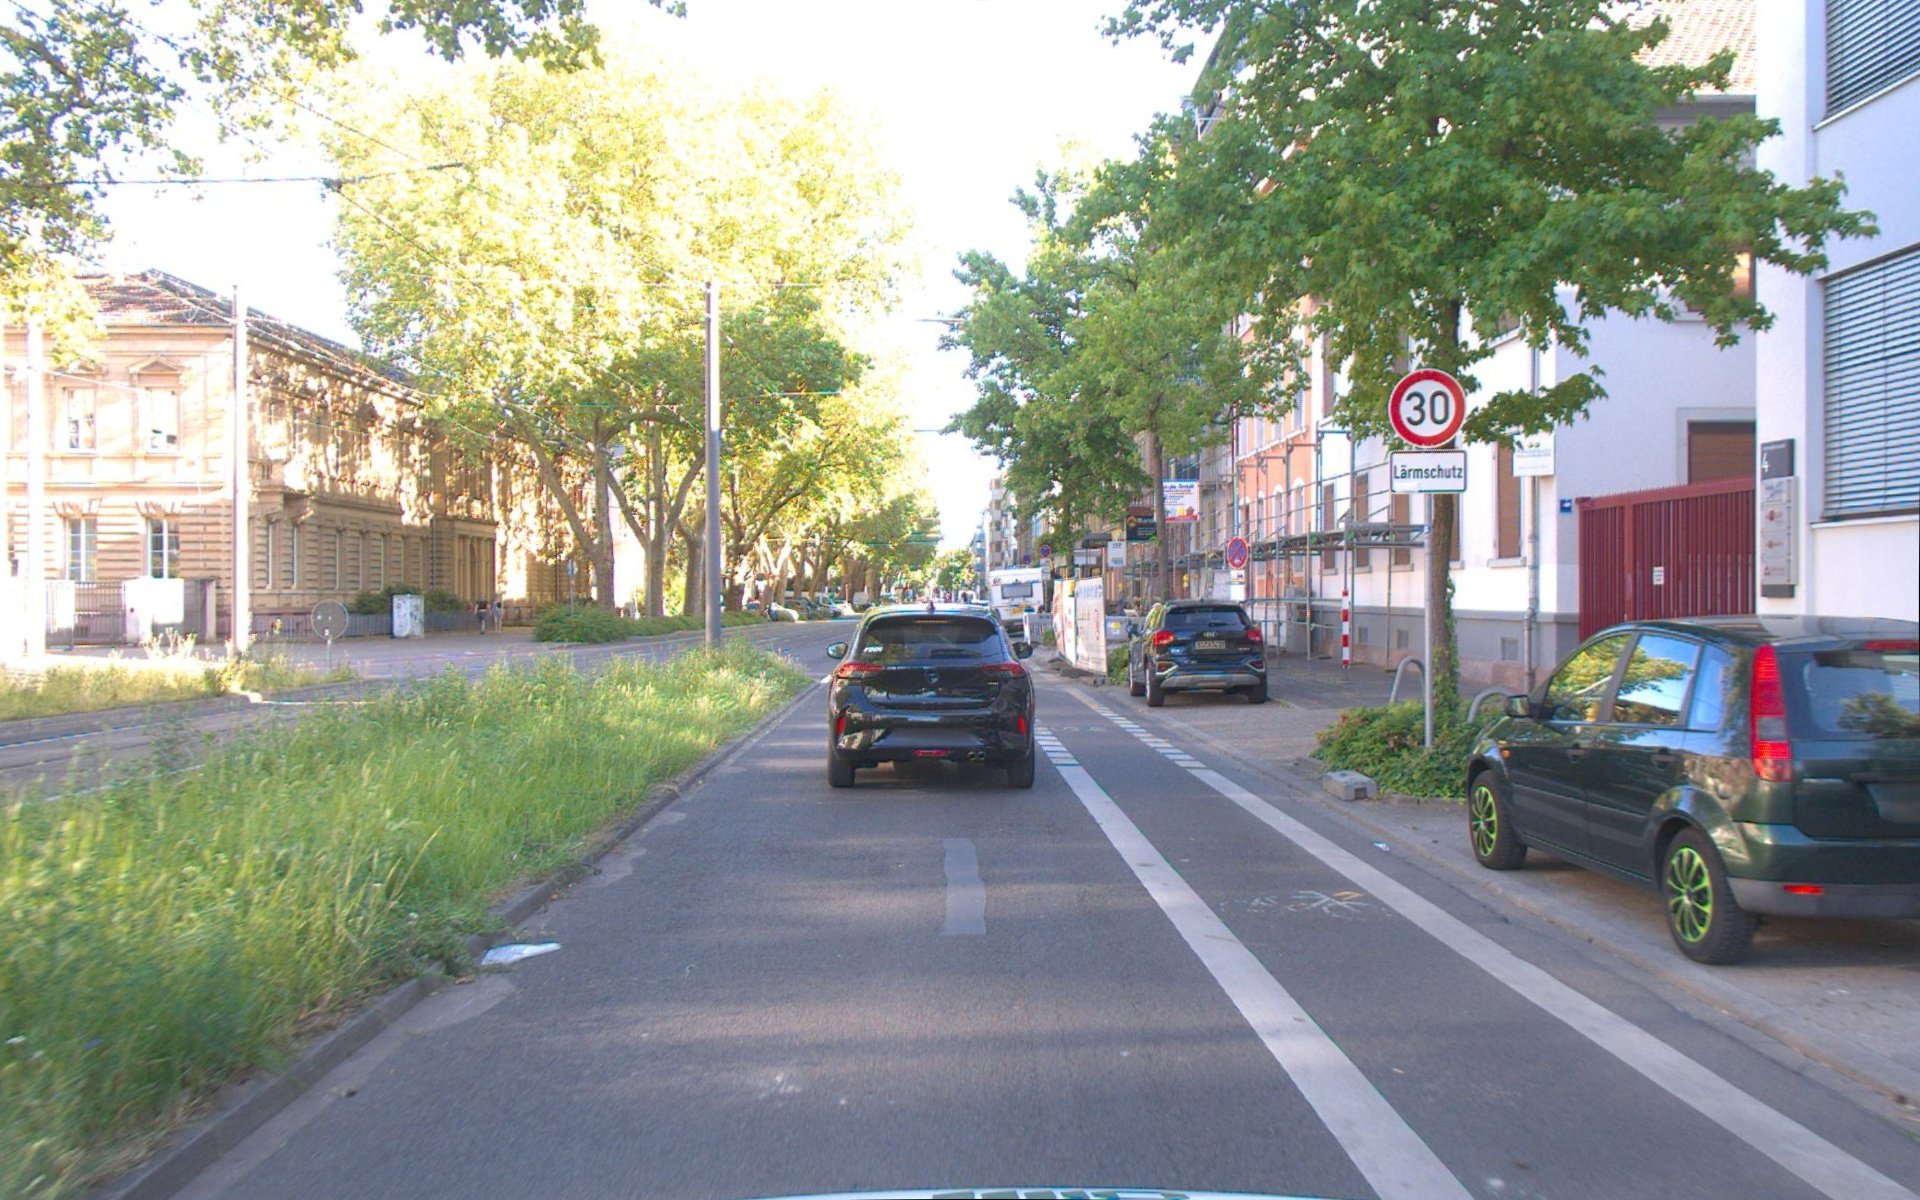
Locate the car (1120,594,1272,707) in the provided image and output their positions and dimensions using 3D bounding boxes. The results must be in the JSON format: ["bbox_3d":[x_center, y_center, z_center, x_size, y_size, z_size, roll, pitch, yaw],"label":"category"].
[{"bbox_3d":[3.536,0.711,25.419,1.753,1.536,3.874,-2,0,0],"label":"car"}]

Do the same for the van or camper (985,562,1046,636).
[{"bbox_3d":[2.364,-0.044,71.764,2.435,3.046,5.434,2,0,1],"label":"van or camper"}]

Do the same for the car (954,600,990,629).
[{"bbox_3d":[0.632,0.751,86.172,1.866,1.450,4.216,0,0,1],"label":"car"}]

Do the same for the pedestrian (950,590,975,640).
[{"bbox_3d":[0.105,0.606,67.757,1.015,2.059,1.212,0,0,-1],"label":"pedestrian"}]

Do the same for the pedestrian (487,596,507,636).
[{"bbox_3d":[-19.716,0.682,70.392,0.645,1.650,0.615,2,0,-1],"label":"pedestrian"}]

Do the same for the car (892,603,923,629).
[{"bbox_3d":[-3.309,0.970,104.465,1.753,1.536,3.874,-2,0,0],"label":"car"}]

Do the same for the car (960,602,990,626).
[{"bbox_3d":[0.943,0.878,105.253,1.866,1.450,4.216,0,0,1],"label":"car"}]

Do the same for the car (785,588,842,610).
[{"bbox_3d":[-14.849,-0.095,167.486,5.571,2.236,2.289,0,0,-1],"label":"car"}]

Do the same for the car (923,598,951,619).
[{"bbox_3d":[-1.644,0.602,118.772,1.866,1.450,4.216,0,0,1],"label":"car"}]

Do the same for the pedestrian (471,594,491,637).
[{"bbox_3d":[-20.337,0.659,70.244,0.605,1.764,0.596,2,0,-1],"label":"pedestrian"}]

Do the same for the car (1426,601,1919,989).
[{"bbox_3d":[3.846,0.747,8.405,1.652,1.445,4.046,-1,0,-3],"label":"car"}]

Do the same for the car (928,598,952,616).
[{"bbox_3d":[-1.682,0.576,140.179,1.866,1.450,4.216,0,0,1],"label":"car"}]

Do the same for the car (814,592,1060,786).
[{"bbox_3d":[-0.150,0.669,14.669,1.866,1.450,4.216,0,0,1],"label":"car"}]
